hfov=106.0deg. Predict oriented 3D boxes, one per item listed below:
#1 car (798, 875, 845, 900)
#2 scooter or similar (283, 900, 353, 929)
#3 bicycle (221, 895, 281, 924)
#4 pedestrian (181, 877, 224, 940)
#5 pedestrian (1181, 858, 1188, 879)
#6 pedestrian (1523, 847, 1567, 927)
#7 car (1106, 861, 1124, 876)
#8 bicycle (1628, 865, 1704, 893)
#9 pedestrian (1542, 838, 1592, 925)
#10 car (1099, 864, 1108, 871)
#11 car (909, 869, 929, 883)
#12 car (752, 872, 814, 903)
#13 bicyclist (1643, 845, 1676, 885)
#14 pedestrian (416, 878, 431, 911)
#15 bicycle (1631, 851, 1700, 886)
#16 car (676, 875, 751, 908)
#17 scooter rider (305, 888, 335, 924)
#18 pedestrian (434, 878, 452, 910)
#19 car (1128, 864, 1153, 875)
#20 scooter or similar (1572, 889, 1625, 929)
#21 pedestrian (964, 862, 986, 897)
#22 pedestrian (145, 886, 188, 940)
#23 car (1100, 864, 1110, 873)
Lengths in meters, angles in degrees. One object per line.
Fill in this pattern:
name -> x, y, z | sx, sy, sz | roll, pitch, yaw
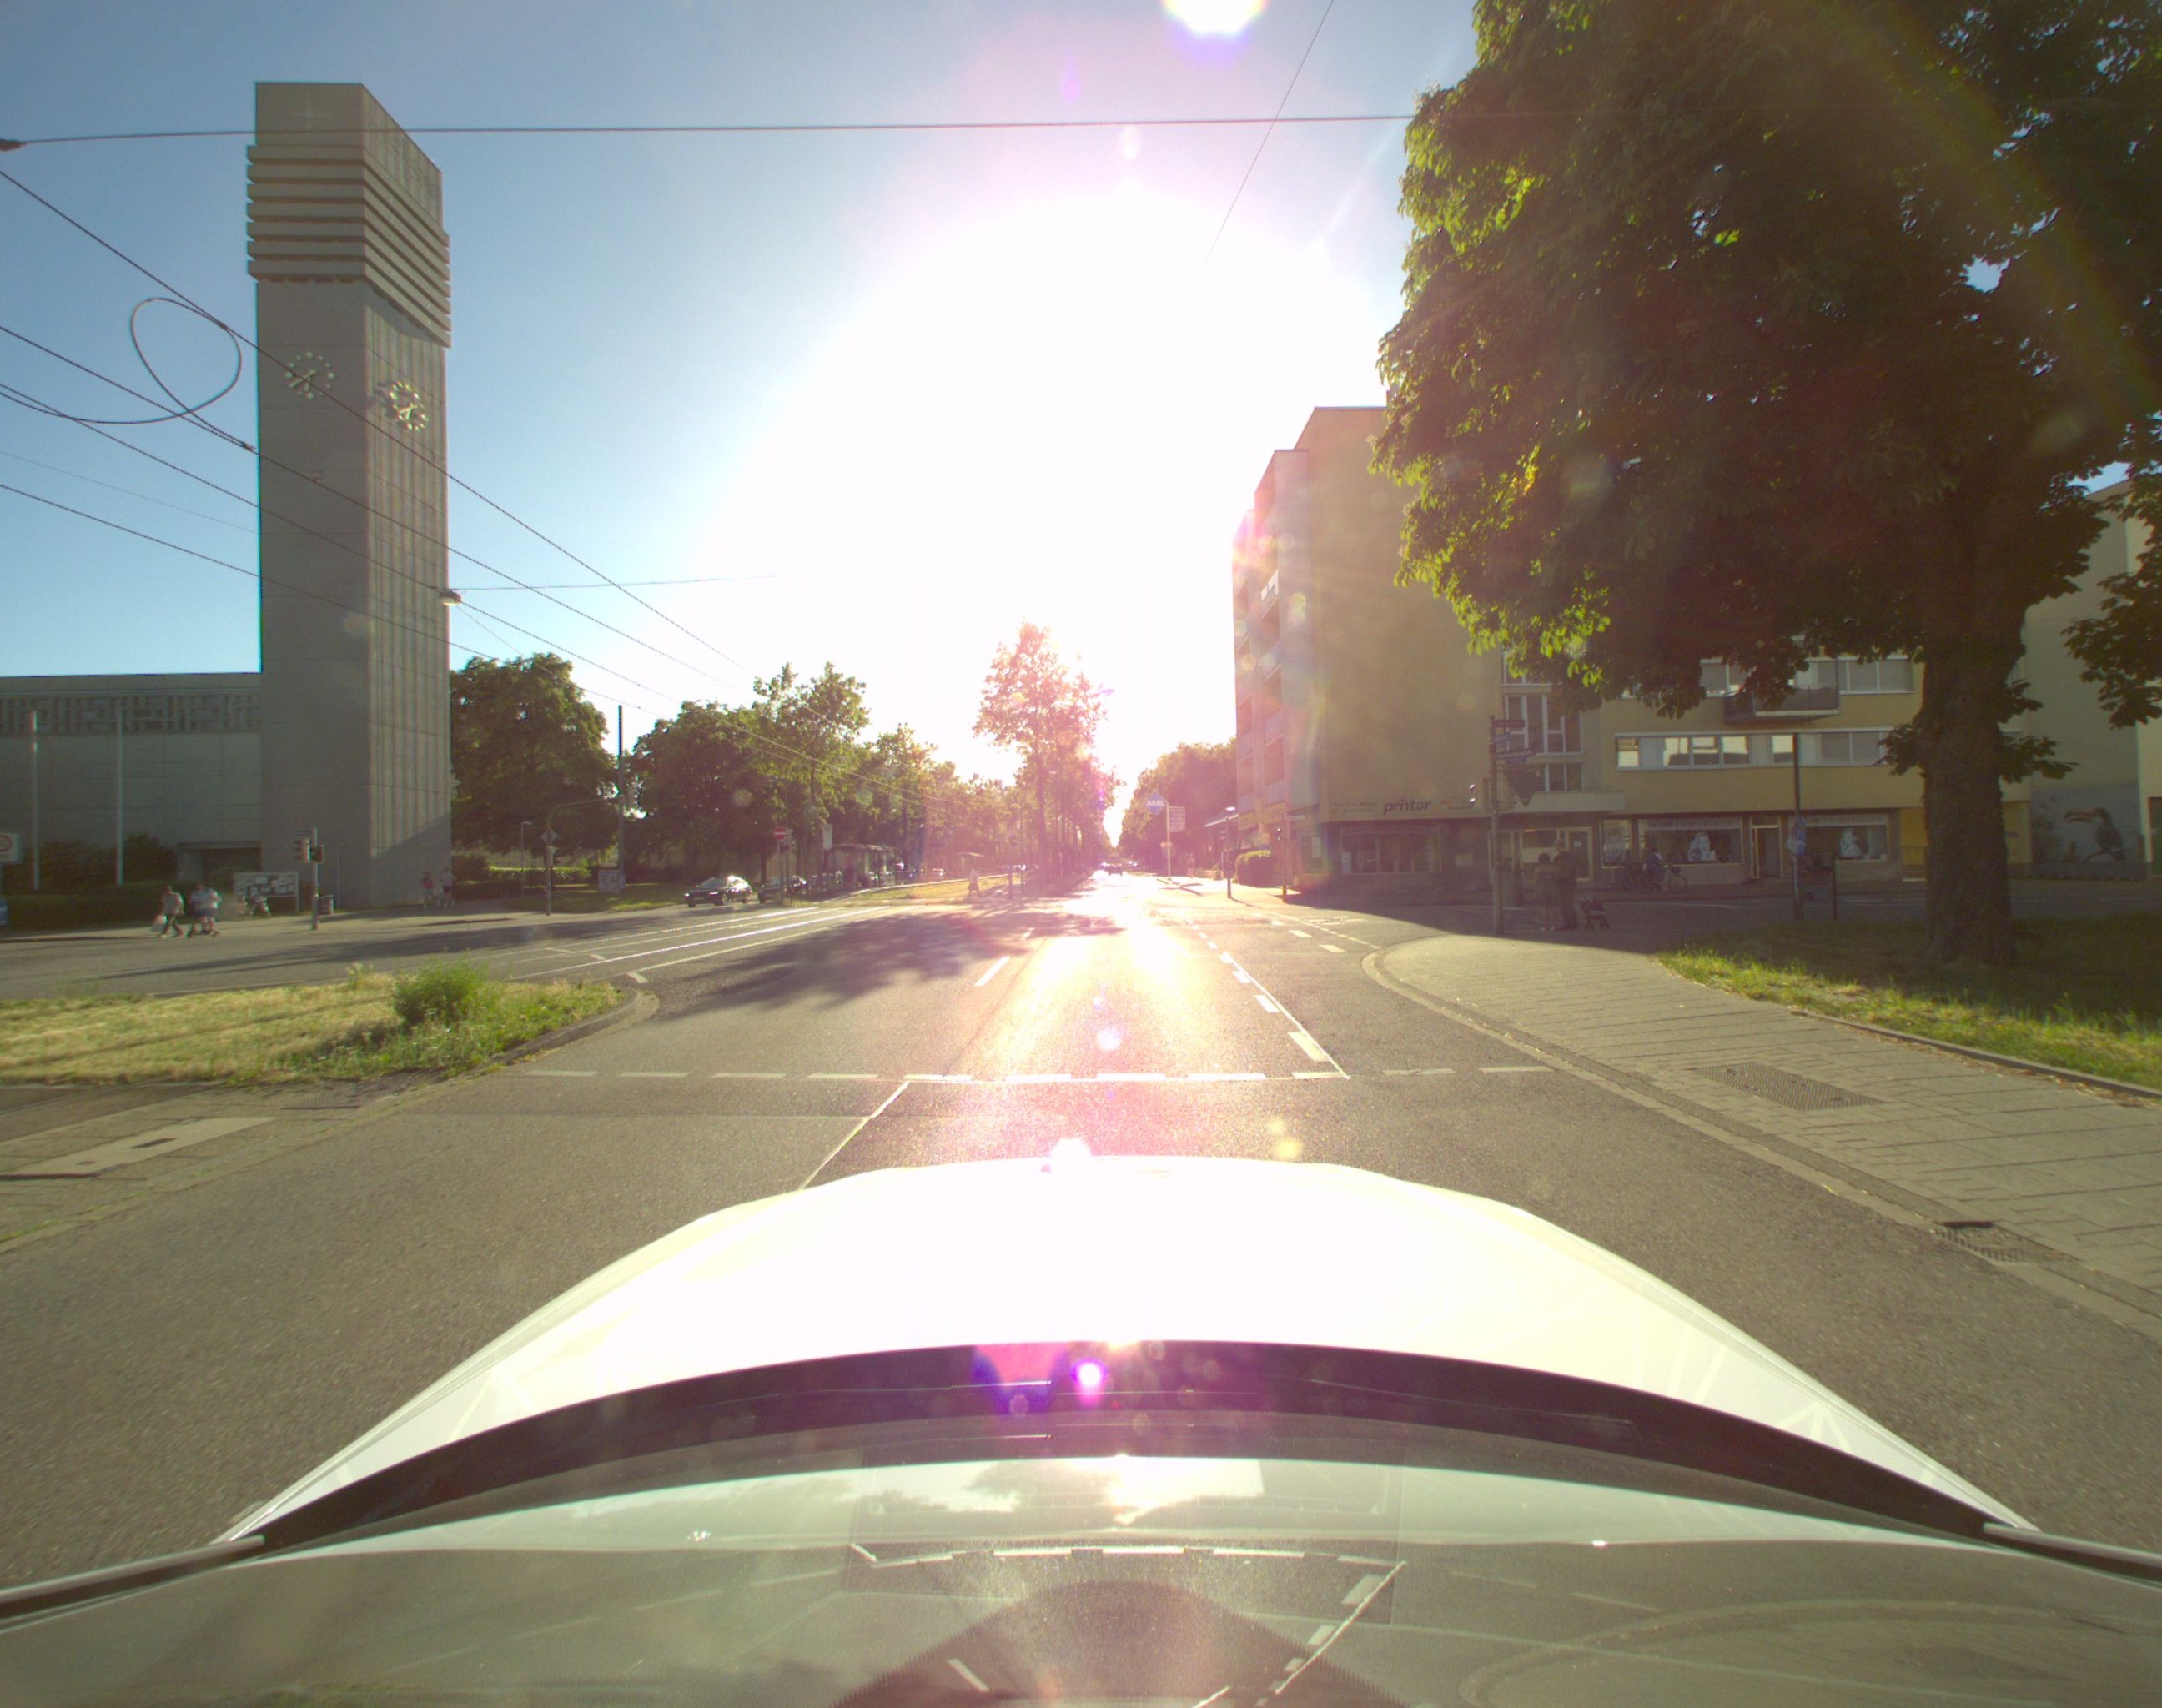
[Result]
car -> -16.345, 2.080, 51.467 | 1.560, 1.402, 3.917 | 1, -1, 2
scooter or similar -> -26.790, 2.118, 28.626 | 1.737, 0.899, 0.561 | -1, -1, -14
bicycle -> -33.372, 2.212, 32.779 | 0.488, 1.046, 1.687 | 1, -1, 10
pedestrian -> -27.380, 1.689, 25.396 | 0.415, 1.915, 0.748 | 1, -1, 12
pedestrian -> 8.594, 1.206, 67.603 | 0.572, 1.747, 0.506 | 1, -1, 1
pedestrian -> 9.085, 0.641, 15.961 | 0.642, 1.522, 0.498 | 1, -1, 14
car -> 4.425, 1.814, 104.273 | 1.995, 1.860, 4.006 | 1, -1, 6
bicycle -> 22.434, 0.962, 31.254 | 2.234, 0.987, 0.792 | -1, 4, 17
pedestrian -> 9.576, 0.528, 16.059 | 0.724, 1.682, 0.534 | 1, -1, 14
car -> 5.374, 3.125, 194.986 | 1.887, 1.611, 4.501 | 1, -1, 1
car -> -19.774, 2.693, 99.394 | 1.616, 1.563, 3.414 | 1, -1, 2
car -> -16.500, 1.831, 45.317 | 1.680, 1.533, 4.363 | -2, -1, 2
bicyclist -> 22.234, 0.415, 31.338 | 0.762, 1.471, 0.902 | -2, 0, 19
pedestrian -> -31.368, 1.929, 38.865 | 0.434, 1.560, 0.305 | 1, -1, -2
bicycle -> 24.479, 0.611, 34.135 | 2.461, 1.399, 0.608 | 1, -1, 0
car -> -19.211, 1.939, 42.809 | 1.799, 1.533, 4.363 | -2, -1, 2
scooter rider -> -26.749, 1.822, 28.624 | 0.526, 1.218, 0.585 | 1, -1, -13
pedestrian -> -30.607, 1.933, 39.092 | 0.434, 1.507, 0.488 | 1, -1, -2
car -> 10.154, 2.610, 139.476 | 4.008, 1.750, 1.740 | 1, -1, -27
scooter or similar -> 9.951, 1.049, 15.677 | 0.595, 0.737, 0.681 | 1, -1, 1
pedestrian -> -4.946, 1.187, 37.933 | 0.887, 1.606, 0.614 | 1, -1, 2
pedestrian -> -29.281, 1.881, 26.085 | 0.440, 1.666, 0.748 | 1, -1, 12
car -> 4.434, 2.630, 150.144 | 1.628, 1.549, 4.003 | 1, -1, 3
